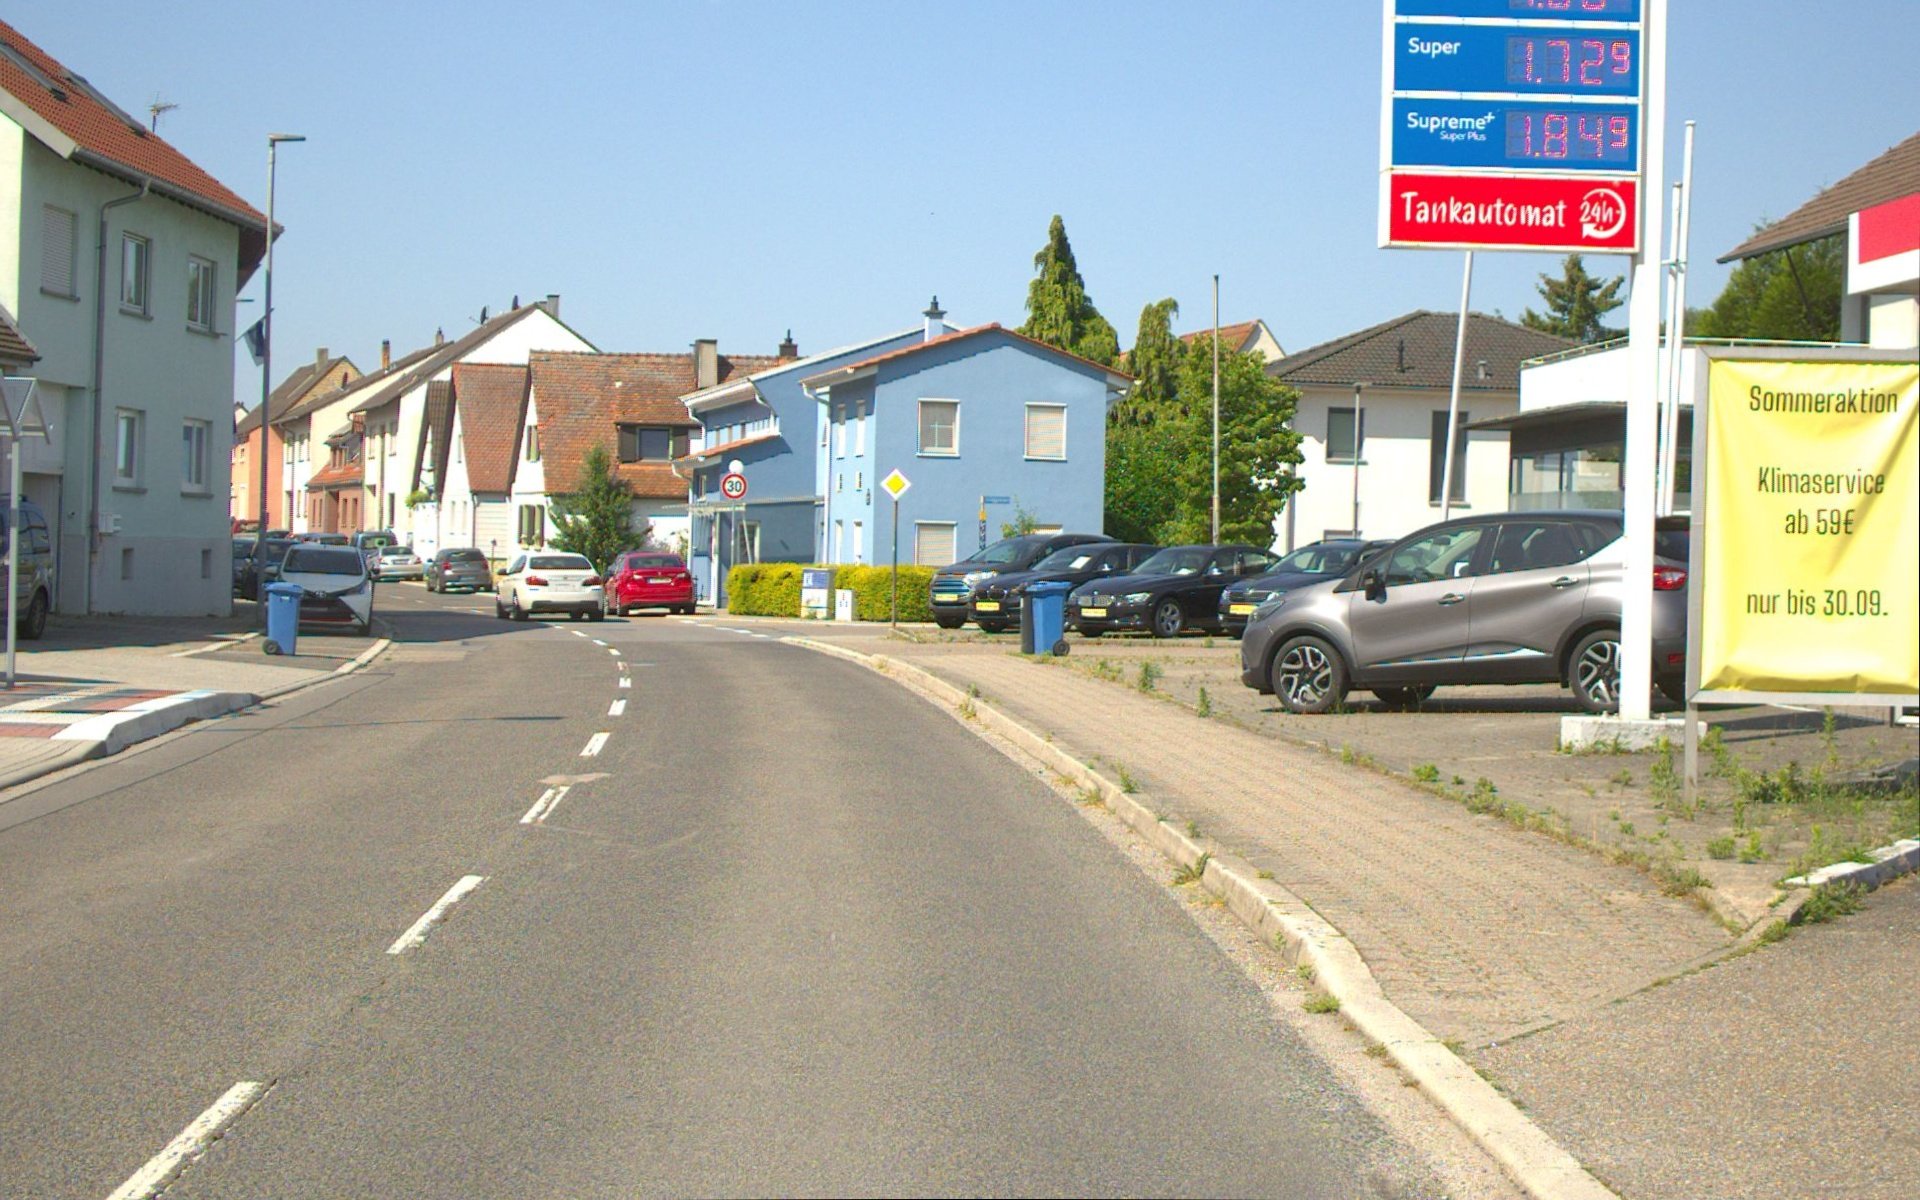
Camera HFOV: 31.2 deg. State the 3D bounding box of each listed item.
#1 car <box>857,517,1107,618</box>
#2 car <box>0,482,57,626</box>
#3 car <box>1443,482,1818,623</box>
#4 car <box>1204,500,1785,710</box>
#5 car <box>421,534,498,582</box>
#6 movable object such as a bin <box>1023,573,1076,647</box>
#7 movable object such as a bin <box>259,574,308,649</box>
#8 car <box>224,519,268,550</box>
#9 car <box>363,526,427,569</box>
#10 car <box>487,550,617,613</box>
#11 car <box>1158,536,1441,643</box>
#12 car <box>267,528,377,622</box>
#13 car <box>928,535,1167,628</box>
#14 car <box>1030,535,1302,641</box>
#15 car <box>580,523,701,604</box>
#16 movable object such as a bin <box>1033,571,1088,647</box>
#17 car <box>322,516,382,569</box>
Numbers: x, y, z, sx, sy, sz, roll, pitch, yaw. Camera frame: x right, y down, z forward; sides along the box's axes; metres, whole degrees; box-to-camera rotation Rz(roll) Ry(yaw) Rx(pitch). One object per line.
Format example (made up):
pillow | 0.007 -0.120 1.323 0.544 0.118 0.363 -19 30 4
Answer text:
car | 0.400 -0.557 58.305 4.103 1.647 1.830 0 1 -43
car | -12.796 -0.627 42.295 1.837 1.786 4.342 4 1 5
car | 9.998 -0.689 51.158 5.268 2.007 2.232 0 1 -30
car | 4.199 0.048 27.239 4.176 1.550 1.771 -1 0 33
car | -15.976 -1.353 109.577 1.704 1.428 3.891 2 0 -18
movable object such as a bin | 1.135 0.125 43.642 0.557 0.933 0.515 0 1 -14
movable object such as a bin | -8.791 0.148 44.680 0.557 0.933 0.515 3 0 -14
car | -34.534 -3.149 166.159 1.766 1.428 3.451 1 1 -17
car | -20.672 -1.924 125.709 1.704 1.491 3.453 2 0 -18
car | -8.710 -0.401 73.112 1.993 1.284 4.001 1 1 -18
car | 5.186 -0.173 52.126 1.983 1.545 4.306 1 1 45
car | -10.553 -0.419 56.977 1.683 1.457 3.650 2 0 -10
car | 1.447 -0.315 55.811 1.750 1.442 3.864 1 1 43
car | 3.244 -0.203 53.485 1.983 1.560 4.229 1 1 43
car | -7.354 -0.872 78.874 1.732 1.489 4.357 -1 5 -20
movable object such as a bin | 1.256 0.112 43.086 0.557 0.936 0.515 0 1 -14
car | -23.065 -2.181 130.282 1.649 1.903 3.627 2 0 -18
